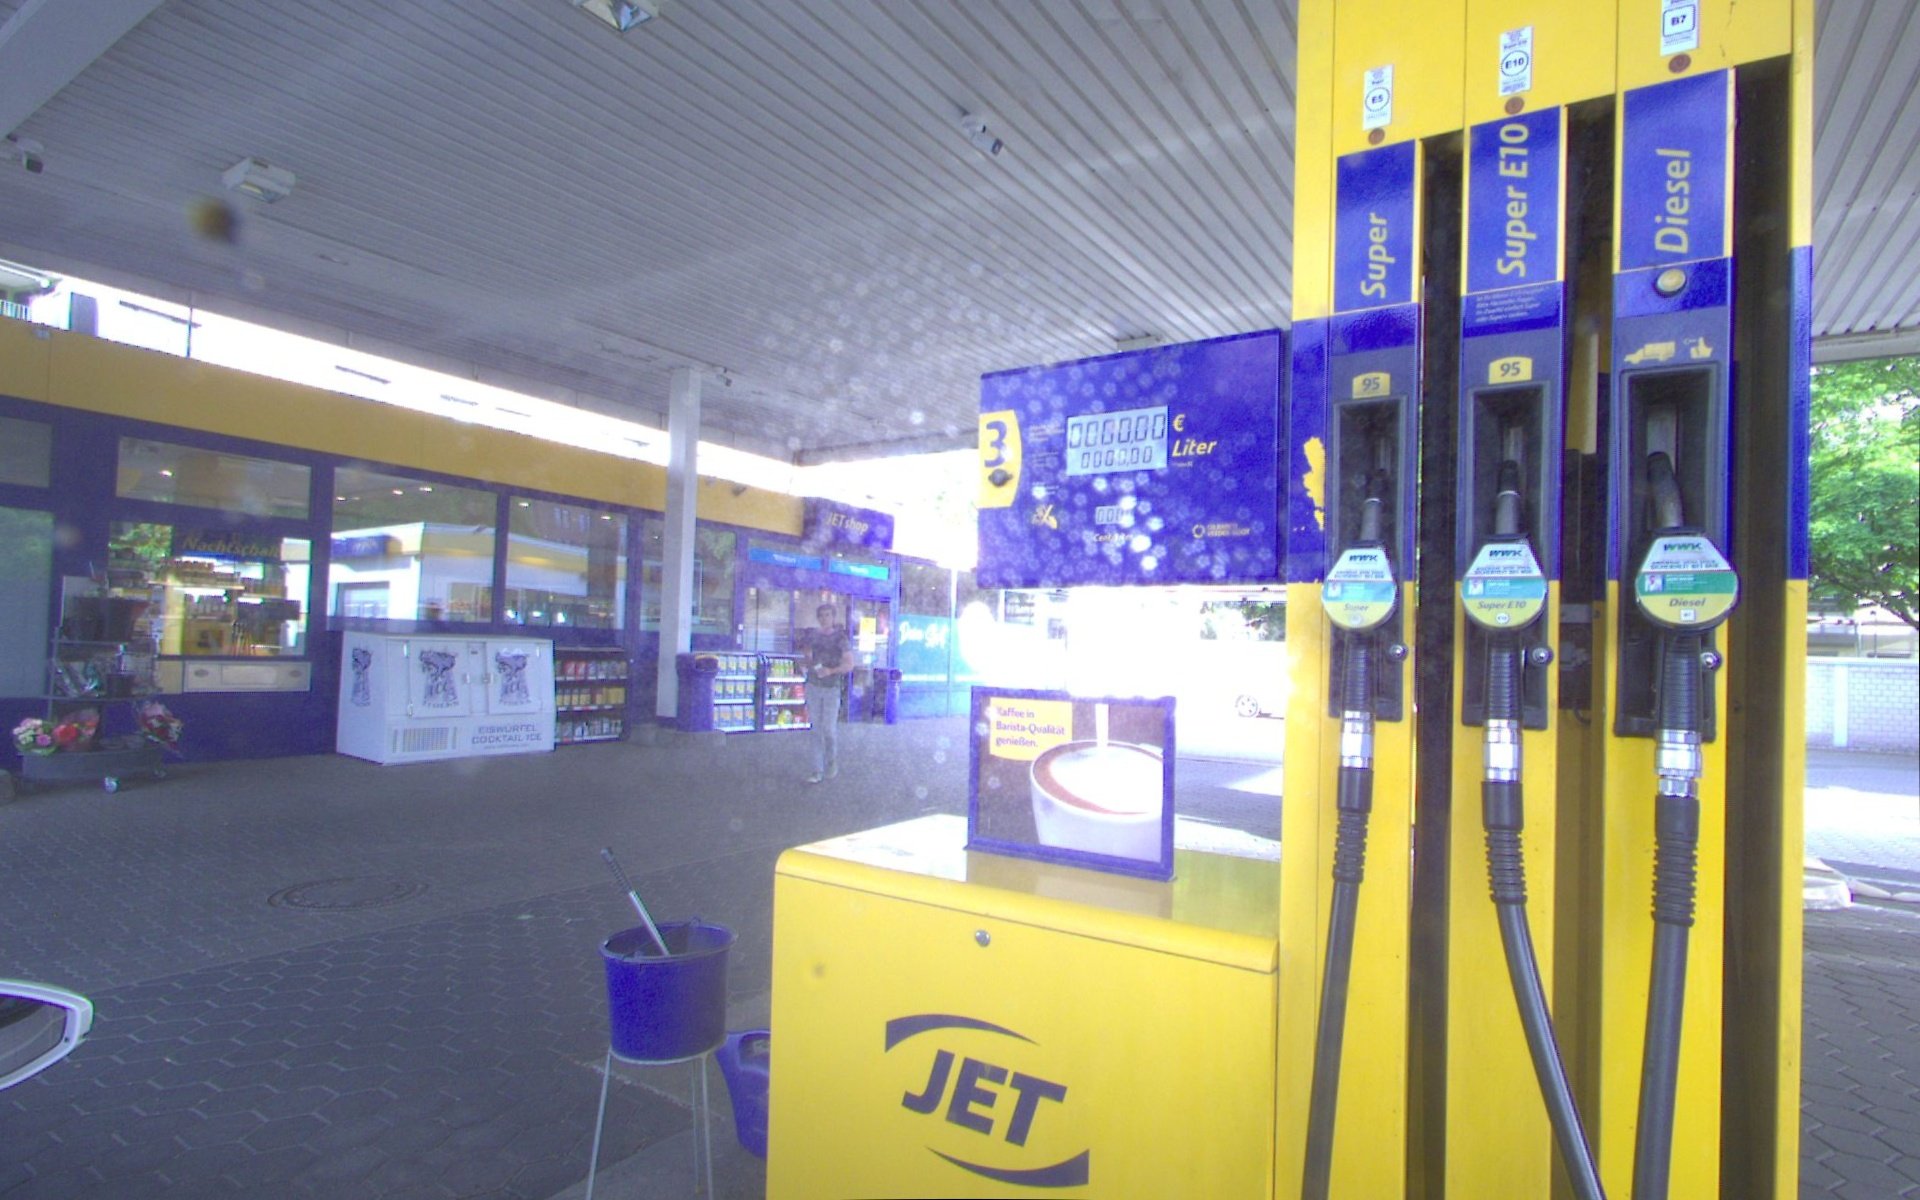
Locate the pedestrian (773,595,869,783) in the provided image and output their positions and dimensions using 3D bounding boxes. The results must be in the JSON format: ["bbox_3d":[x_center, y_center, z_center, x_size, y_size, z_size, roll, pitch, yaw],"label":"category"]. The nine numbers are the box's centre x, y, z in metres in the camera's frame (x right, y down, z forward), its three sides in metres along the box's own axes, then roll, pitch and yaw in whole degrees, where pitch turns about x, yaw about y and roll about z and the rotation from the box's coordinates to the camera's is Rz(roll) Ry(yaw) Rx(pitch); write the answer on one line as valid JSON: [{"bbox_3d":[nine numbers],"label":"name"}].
[{"bbox_3d":[-1.431,0.912,10.488,0.788,1.838,0.985,3,-2,0],"label":"pedestrian"}]
